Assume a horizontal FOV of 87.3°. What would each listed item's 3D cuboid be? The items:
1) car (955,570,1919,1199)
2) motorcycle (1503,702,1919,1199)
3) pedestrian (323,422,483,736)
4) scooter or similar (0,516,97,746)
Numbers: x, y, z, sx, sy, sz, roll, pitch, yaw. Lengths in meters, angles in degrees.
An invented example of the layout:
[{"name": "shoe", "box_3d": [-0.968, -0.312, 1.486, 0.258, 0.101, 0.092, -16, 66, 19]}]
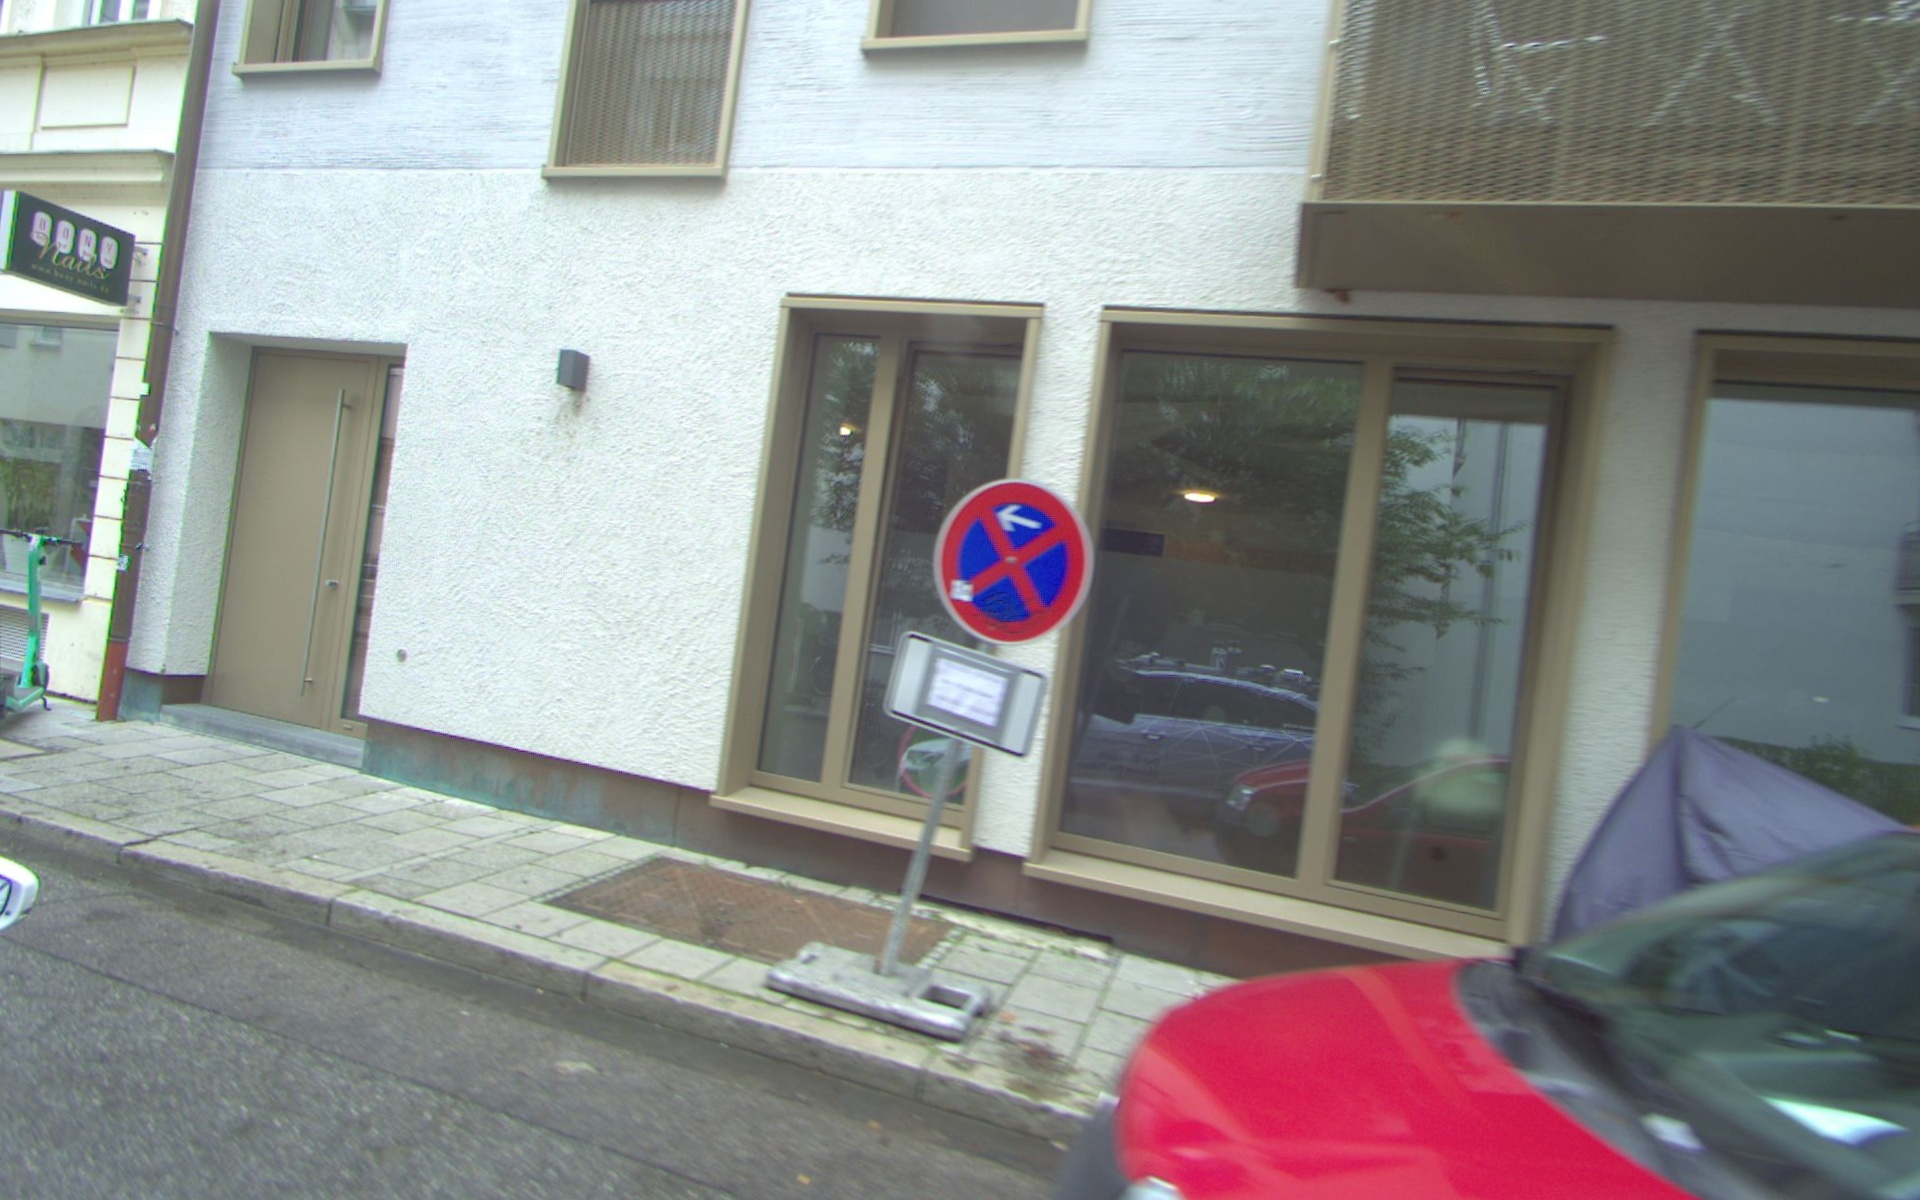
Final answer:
[{"name": "car", "box_3d": [2.145, 1.062, 1.427, 3.990, 1.540, 1.780, 7, -3, 20]}, {"name": "motorcycle", "box_3d": [3.083, 1.240, 3.426, 1.896, 1.442, 0.807, 8, 2, 18]}, {"name": "pedestrian", "box_3d": [-3.863, -0.159, 6.964, 0.782, 2.035, 0.435, 9, -3, 45]}, {"name": "scooter or similar", "box_3d": [-5.811, 0.131, 6.144, 0.490, 1.199, 1.593, 5, 3, -31]}]
